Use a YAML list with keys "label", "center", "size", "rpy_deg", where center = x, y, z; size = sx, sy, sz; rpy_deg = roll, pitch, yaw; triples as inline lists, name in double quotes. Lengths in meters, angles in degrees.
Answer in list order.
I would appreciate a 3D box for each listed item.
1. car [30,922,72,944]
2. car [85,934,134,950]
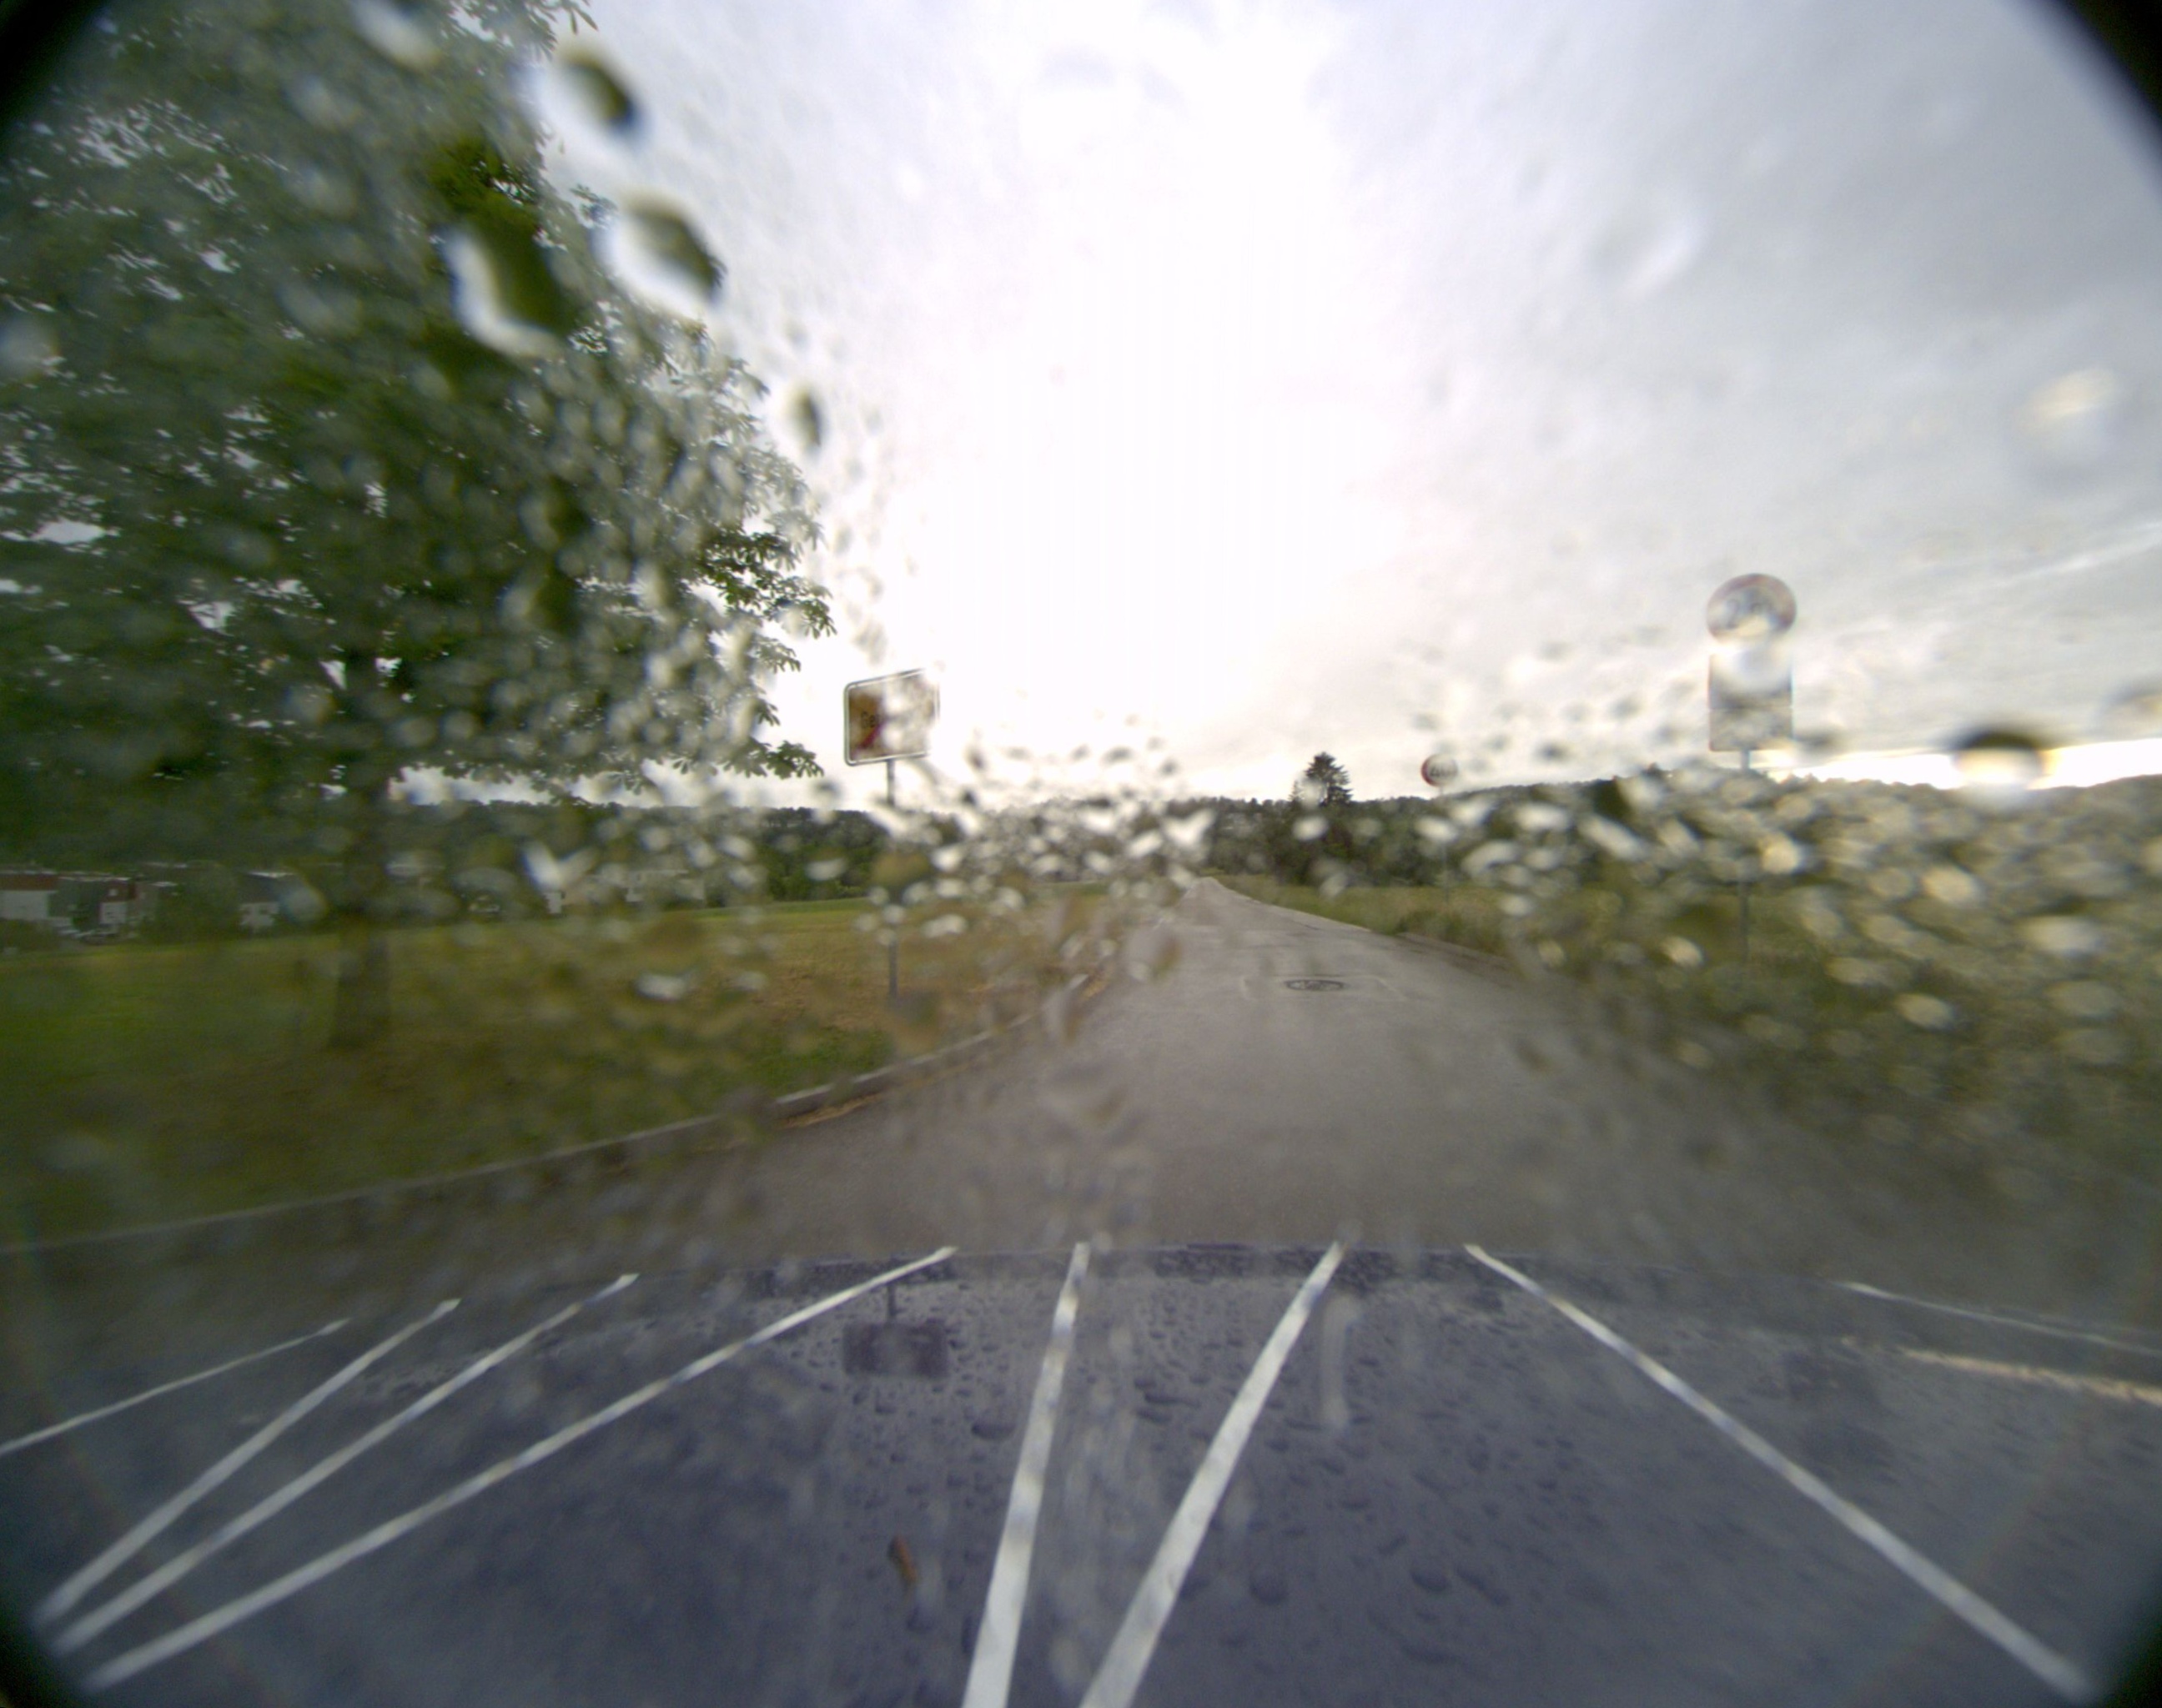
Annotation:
- label: "car"
  center: [-162.209, 12.489, 119.710]
  size: [5.079, 3.206, 2.143]
  rpy_deg: [-2, 0, 15]
- label: "car"
  center: [-146.832, 13.267, 114.881]
  size: [1.996, 2.001, 4.005]
  rpy_deg: [-2, -1, 13]
